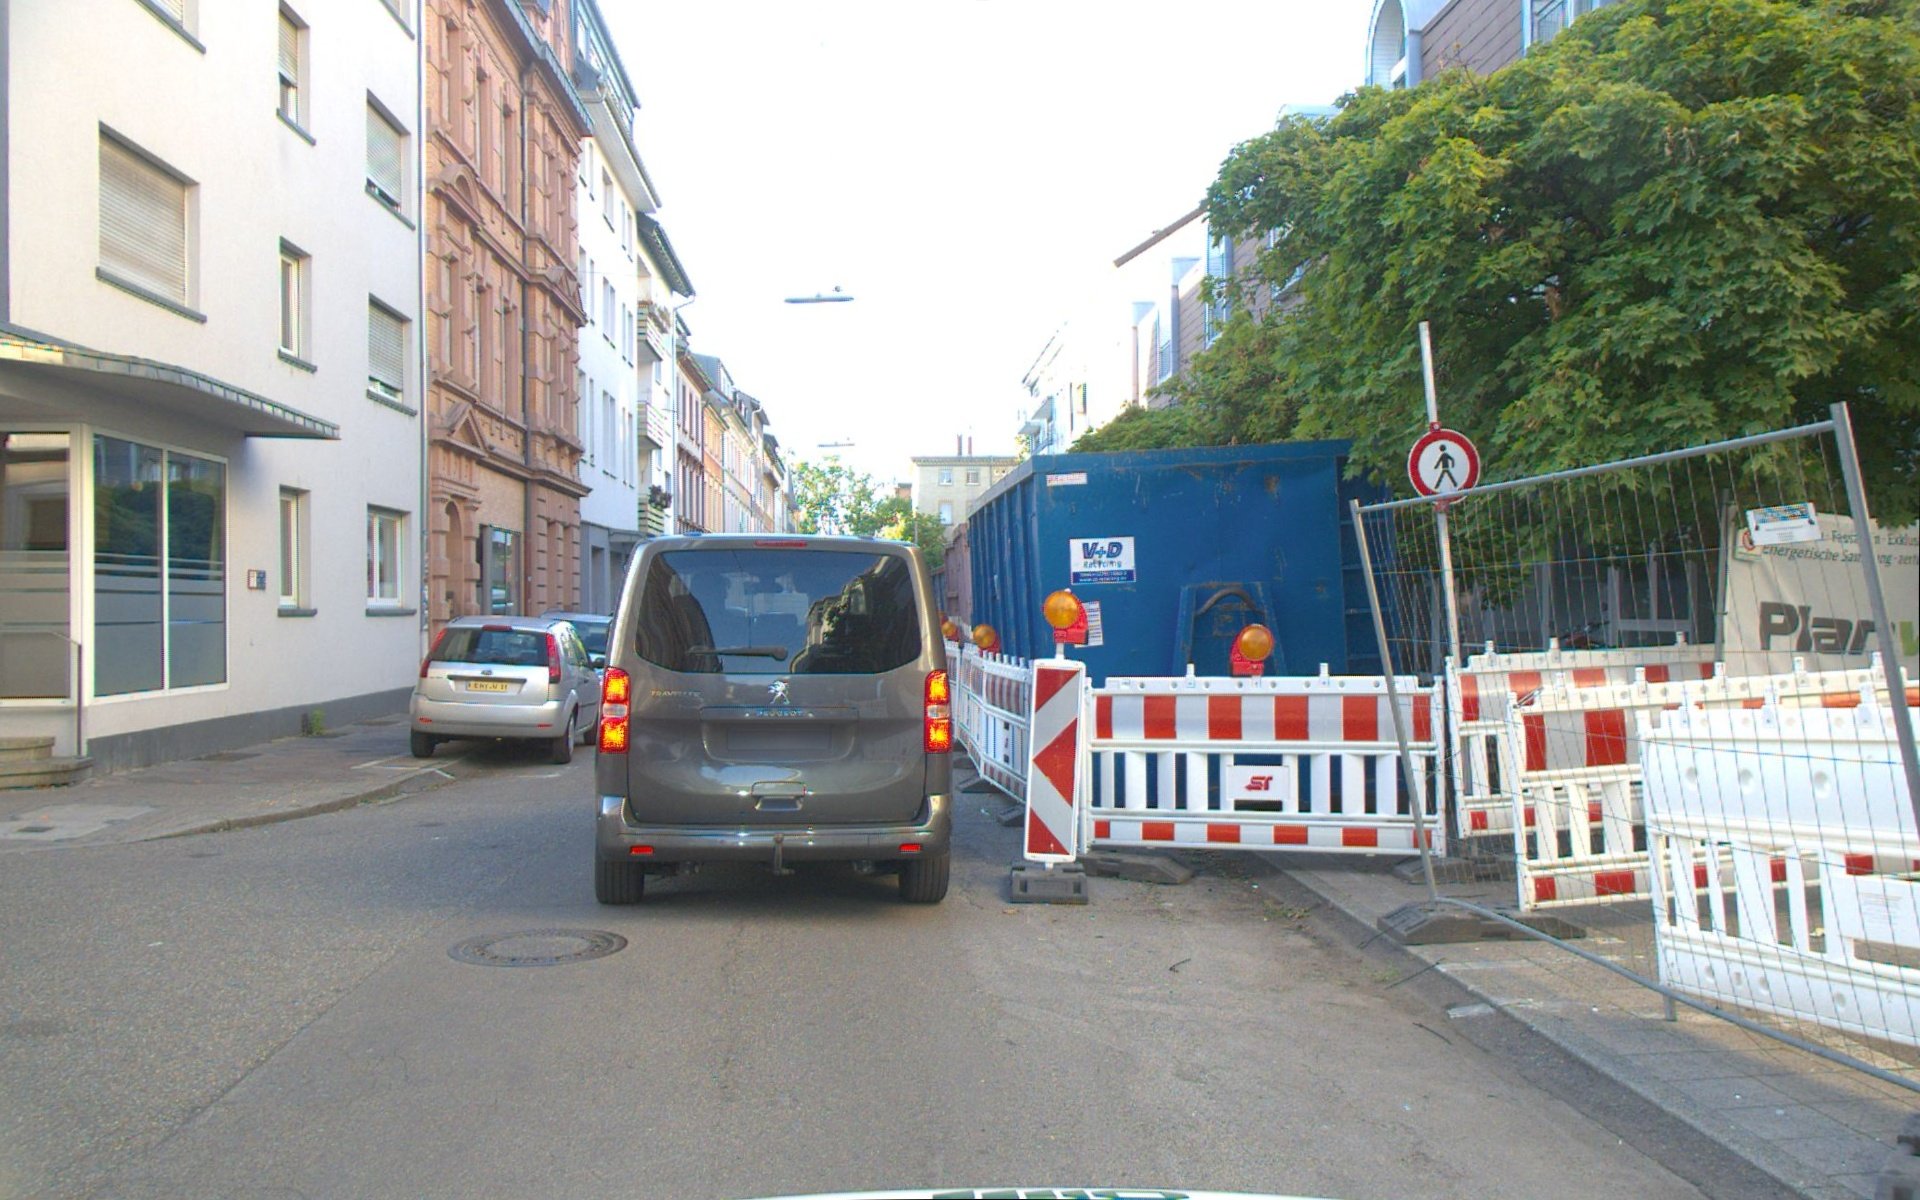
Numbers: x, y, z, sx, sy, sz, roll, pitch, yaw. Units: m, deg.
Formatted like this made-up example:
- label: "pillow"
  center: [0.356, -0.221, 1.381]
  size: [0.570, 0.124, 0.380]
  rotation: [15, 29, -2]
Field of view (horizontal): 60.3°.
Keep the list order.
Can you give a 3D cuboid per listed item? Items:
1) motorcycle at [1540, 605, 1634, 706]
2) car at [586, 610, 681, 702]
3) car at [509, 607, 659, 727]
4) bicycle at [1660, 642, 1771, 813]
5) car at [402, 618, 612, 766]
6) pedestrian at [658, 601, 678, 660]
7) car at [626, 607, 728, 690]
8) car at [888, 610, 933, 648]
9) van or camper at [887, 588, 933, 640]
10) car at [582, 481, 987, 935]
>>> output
- label: "motorcycle"
  center: [8.212, 0.717, 21.758]
  size: [0.851, 1.244, 2.458]
  rotation: [-1, -1, 14]
- label: "car"
  center: [-5.968, 0.985, 30.409]
  size: [1.368, 1.616, 2.791]
  rotation: [0, 0, -4]
- label: "car"
  center: [-5.319, 0.903, 23.749]
  size: [1.525, 1.535, 3.594]
  rotation: [2, -1, -4]
- label: "bicycle"
  center: [5.222, 0.848, 11.484]
  size: [0.555, 1.088, 1.366]
  rotation: [1, -1, 19]
- label: "car"
  center: [-4.879, 0.931, 18.246]
  size: [1.600, 1.455, 3.551]
  rotation: [0, 0, -5]
- label: "pedestrian"
  center: [-8.400, 0.884, 47.601]
  size: [0.485, 1.667, 0.665]
  rotation: [1, -1, -4]
- label: "car"
  center: [-5.834, 0.959, 34.441]
  size: [1.706, 1.627, 4.011]
  rotation: [0, 0, -4]
- label: "car"
  center: [-2.262, 1.306, 74.353]
  size: [1.689, 1.640, 4.582]
  rotation: [0, -1, -6]
- label: "van or camper"
  center: [-2.782, 0.775, 90.305]
  size: [2.059, 2.648, 7.504]
  rotation: [-1, 0, -5]
- label: "car"
  center: [-0.958, 0.503, 9.770]
  size: [1.821, 2.049, 3.996]
  rotation: [-2, 0, -4]
